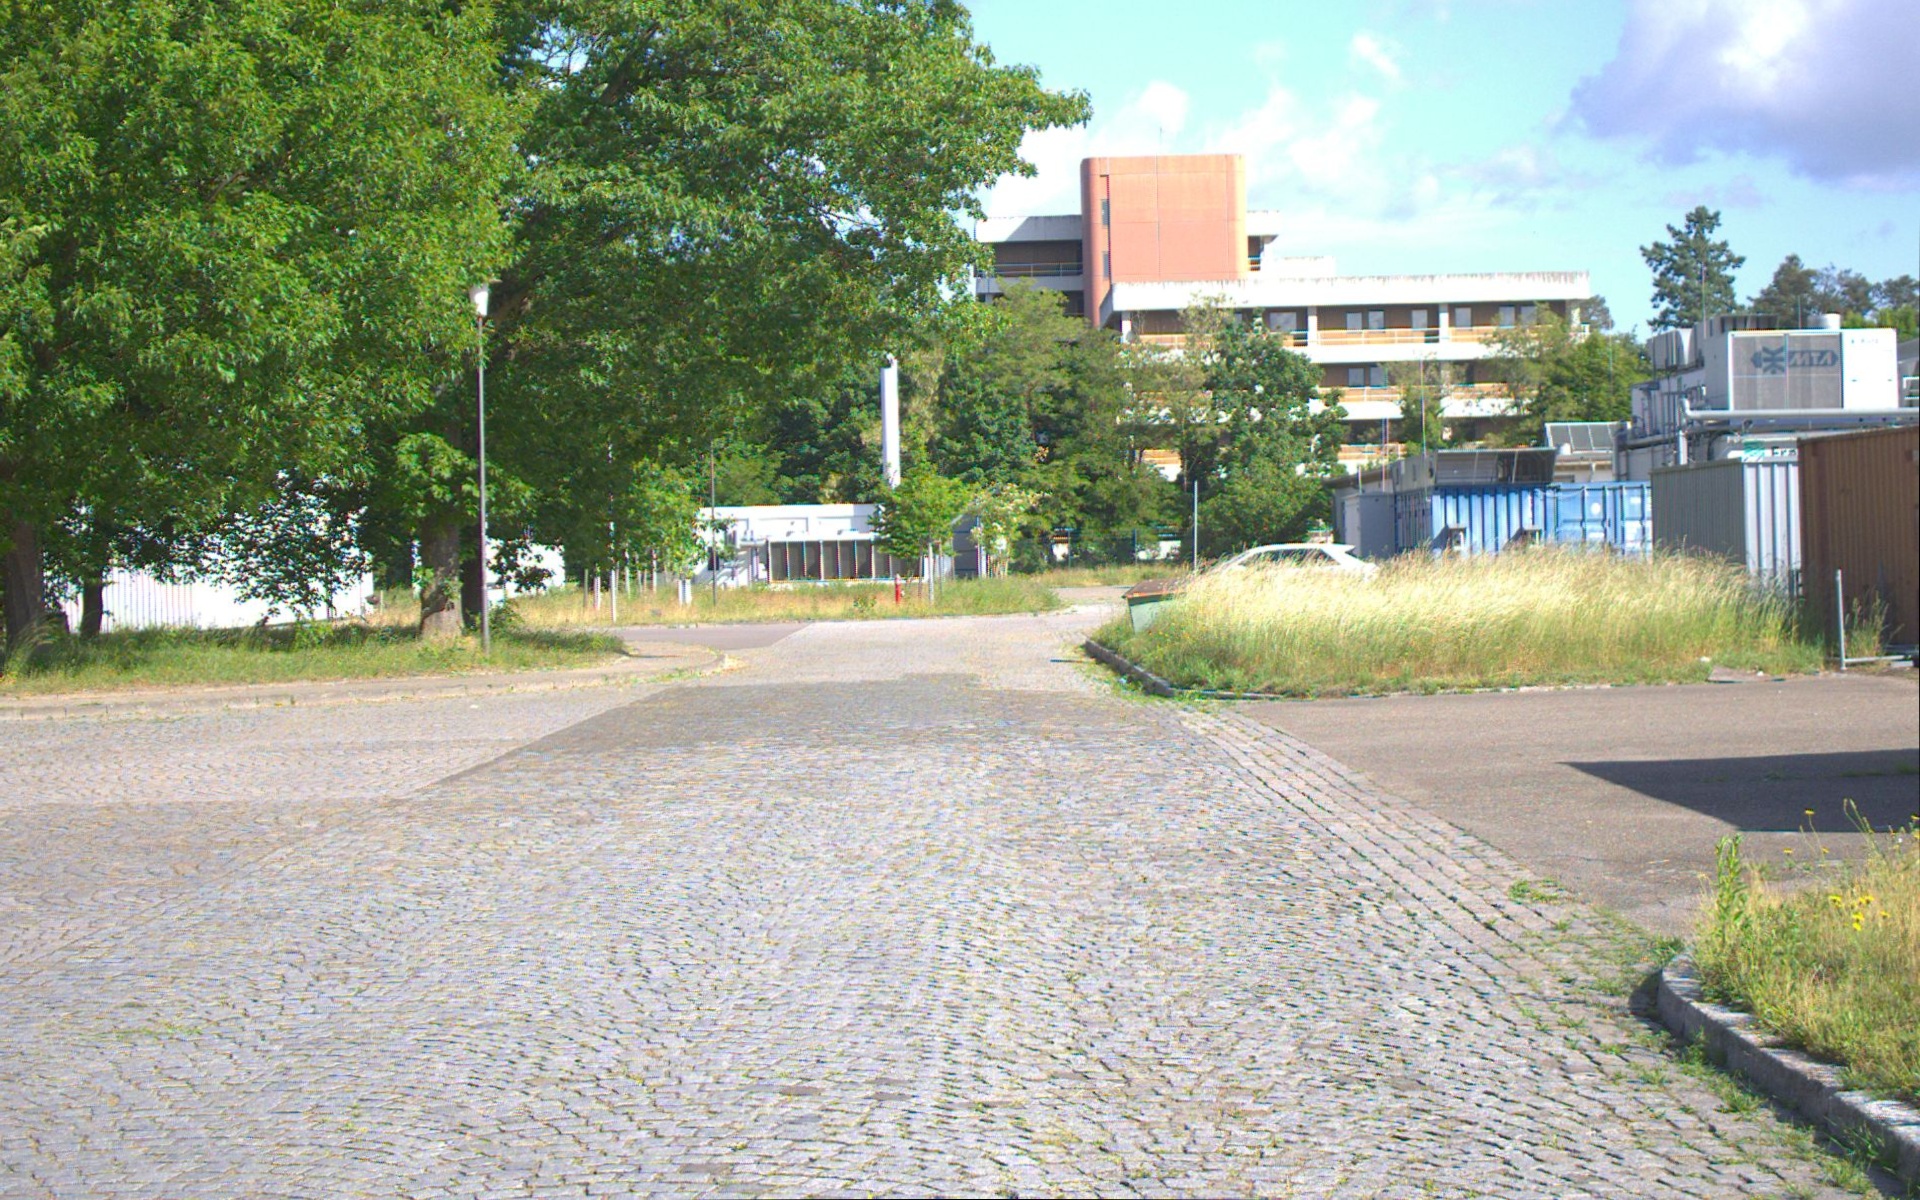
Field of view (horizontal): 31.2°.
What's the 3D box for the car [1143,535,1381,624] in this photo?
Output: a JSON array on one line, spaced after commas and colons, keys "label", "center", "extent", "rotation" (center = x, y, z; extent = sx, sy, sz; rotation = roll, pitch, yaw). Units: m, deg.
[{"label": "car", "center": [6.029, -0.418, 69.013], "extent": [4.504, 1.642, 2.000], "rotation": [-1, 1, -1]}]
